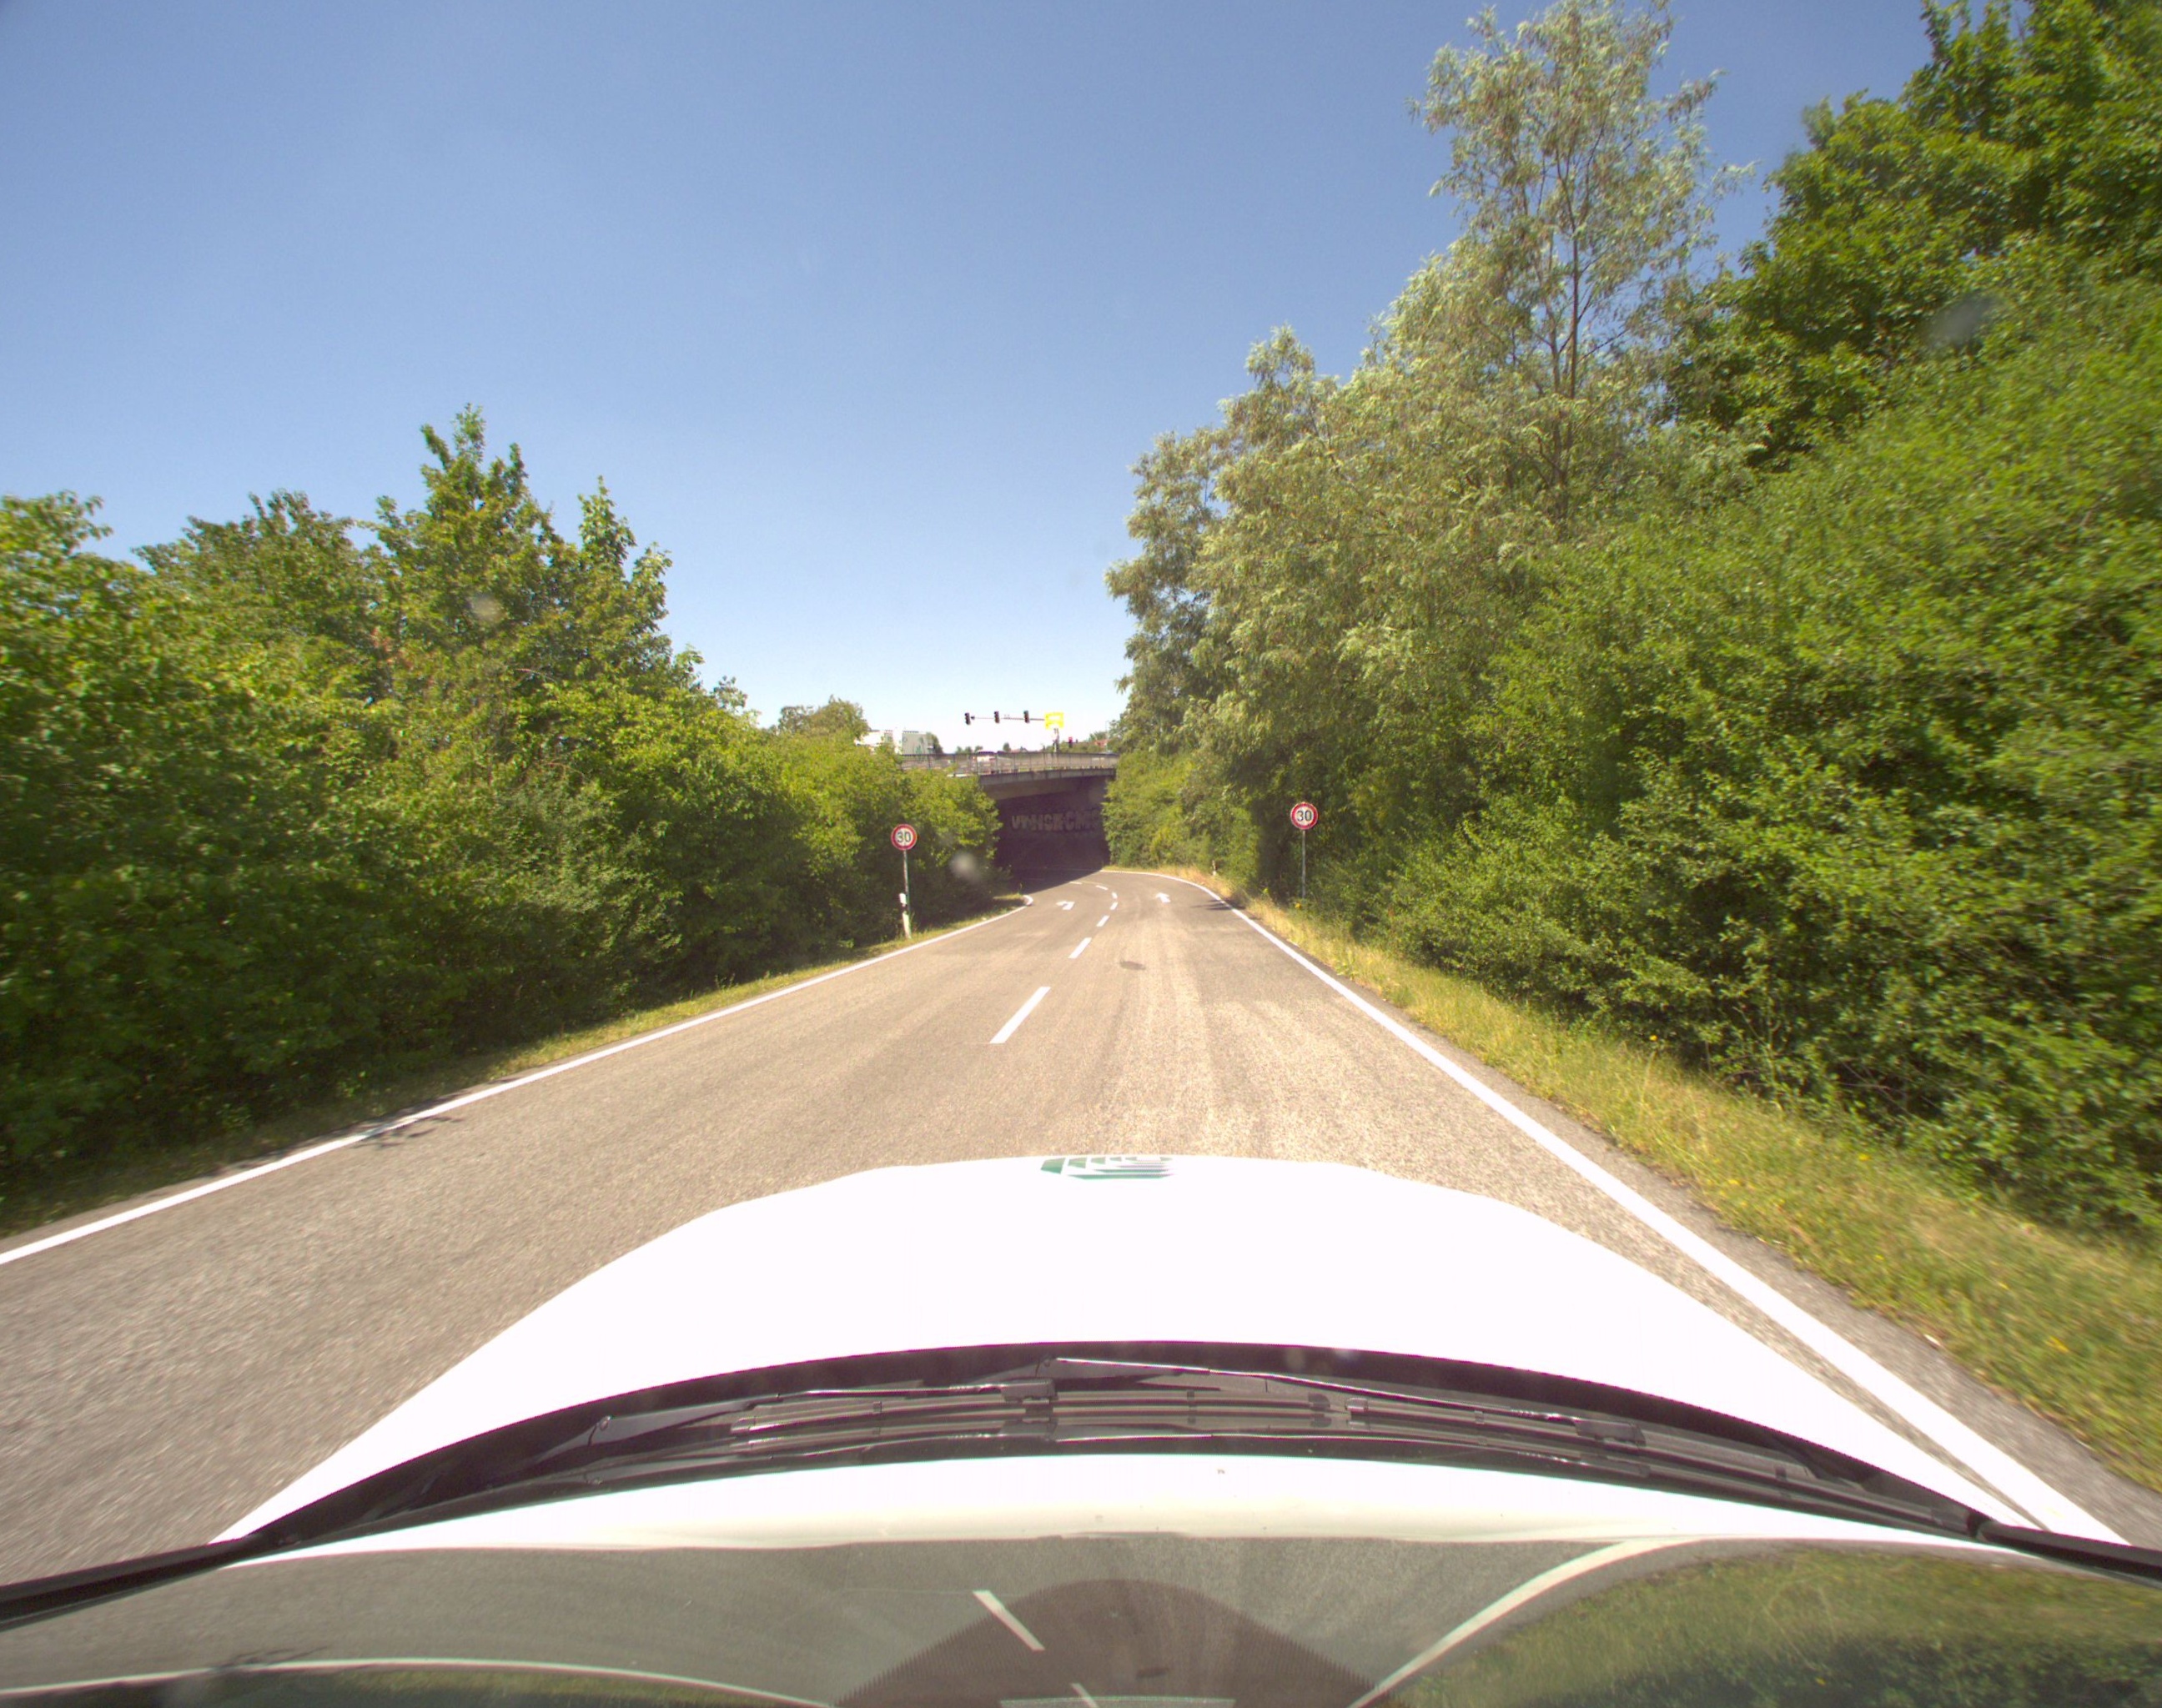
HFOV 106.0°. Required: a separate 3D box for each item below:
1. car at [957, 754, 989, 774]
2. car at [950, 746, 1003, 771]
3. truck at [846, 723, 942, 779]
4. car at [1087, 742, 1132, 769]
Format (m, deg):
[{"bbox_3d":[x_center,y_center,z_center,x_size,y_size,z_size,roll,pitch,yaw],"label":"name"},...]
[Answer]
[{"bbox_3d":[-10.269,-8.546,77.631,1.982,1.617,4.011,0,2,9],"label":"car"},{"bbox_3d":[-5.954,-5.439,46.756,1.599,1.189,3.496,-3,3,17],"label":"car"},{"bbox_3d":[-14.314,-7.857,63.354,3.004,3.588,8.945,-3,3,17],"label":"truck"},{"bbox_3d":[2.450,-8.247,68.638,1.974,2.013,4.027,-2,4,32],"label":"car"}]
